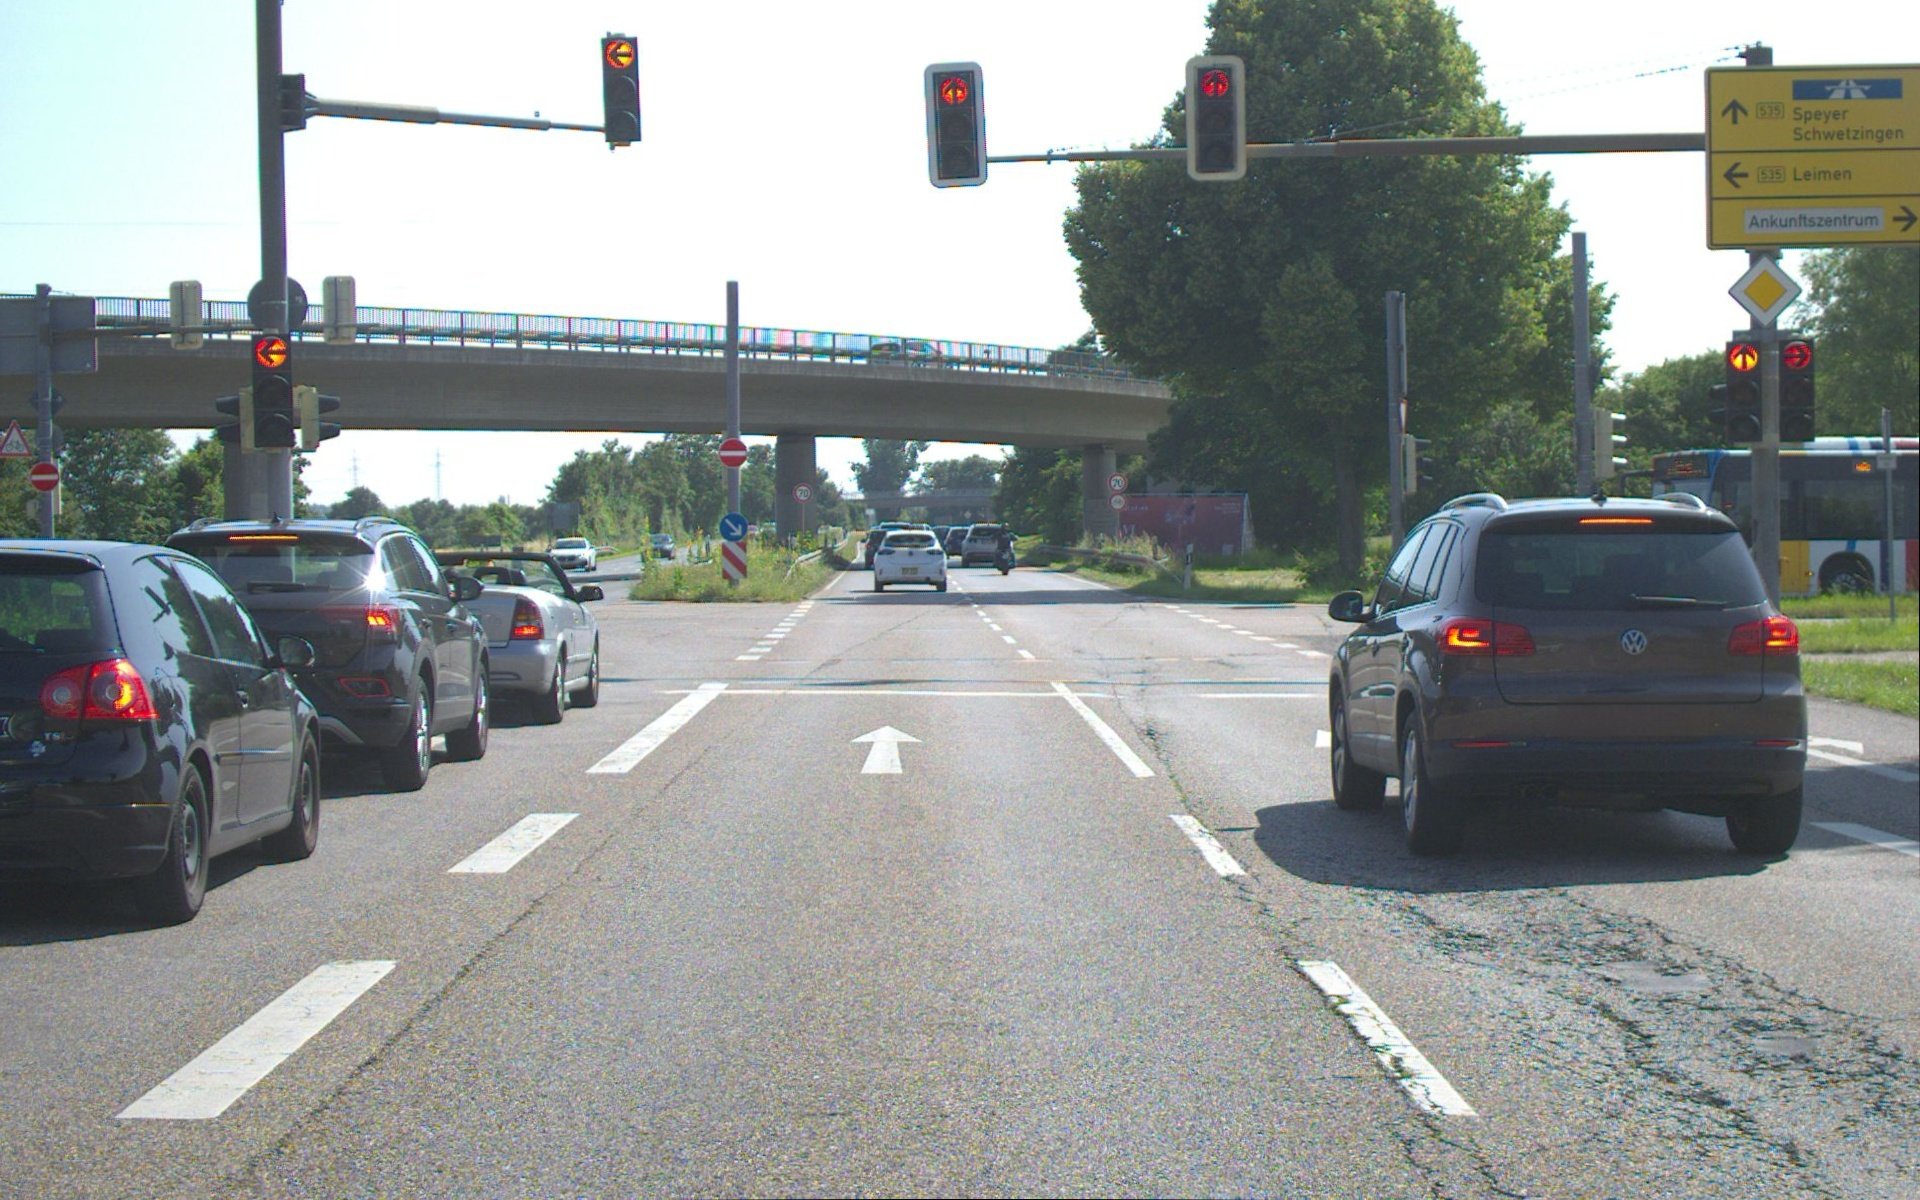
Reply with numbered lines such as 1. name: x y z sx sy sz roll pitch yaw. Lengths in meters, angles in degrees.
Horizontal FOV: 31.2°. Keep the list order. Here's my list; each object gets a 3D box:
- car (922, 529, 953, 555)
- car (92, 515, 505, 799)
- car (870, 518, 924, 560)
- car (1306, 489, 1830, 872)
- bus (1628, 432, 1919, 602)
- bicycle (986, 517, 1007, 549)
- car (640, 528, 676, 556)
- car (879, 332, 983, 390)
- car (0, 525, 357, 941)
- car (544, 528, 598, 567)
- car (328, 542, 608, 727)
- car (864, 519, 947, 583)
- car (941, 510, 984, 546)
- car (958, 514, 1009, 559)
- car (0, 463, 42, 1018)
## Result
1. car: -1.490 -3.816 226.505 1.993 1.650 4.000 2 0 0
2. car: -3.880 0.260 20.822 1.728 1.542 4.098 0 1 0
3. car: -2.307 -2.244 126.181 1.873 1.487 4.000 0 1 1
4. car: 2.871 0.313 17.122 1.755 1.650 4.147 1 1 -1
5. bus: 18.256 -1.585 62.374 11.935 2.867 2.943 -2 1 -15
6. bicycle: 1.155 -2.108 108.346 0.600 0.979 2.361 -1 2 0
7. car: -16.532 -3.168 188.294 1.614 1.437 3.776 -3 1 -1
8. car: -1.030 -8.656 124.909 1.997 1.831 3.993 2 0 29
9. car: -3.697 0.433 14.336 1.666 1.469 4.098 0 1 0
10. car: -16.465 -2.228 145.631 1.882 1.510 4.148 -4 1 -2
11. car: -3.851 0.219 27.491 1.673 1.330 4.098 0 1 0
12. car: -1.262 -1.169 81.468 1.851 1.456 4.000 1 1 1
13. car: 0.107 -3.468 166.718 1.993 1.626 4.000 2 0 -1
14. car: 0.905 -2.431 130.560 1.873 1.634 4.000 1 1 0
15. car: -3.738 0.463 8.608 1.741 1.666 4.357 0 2 0
